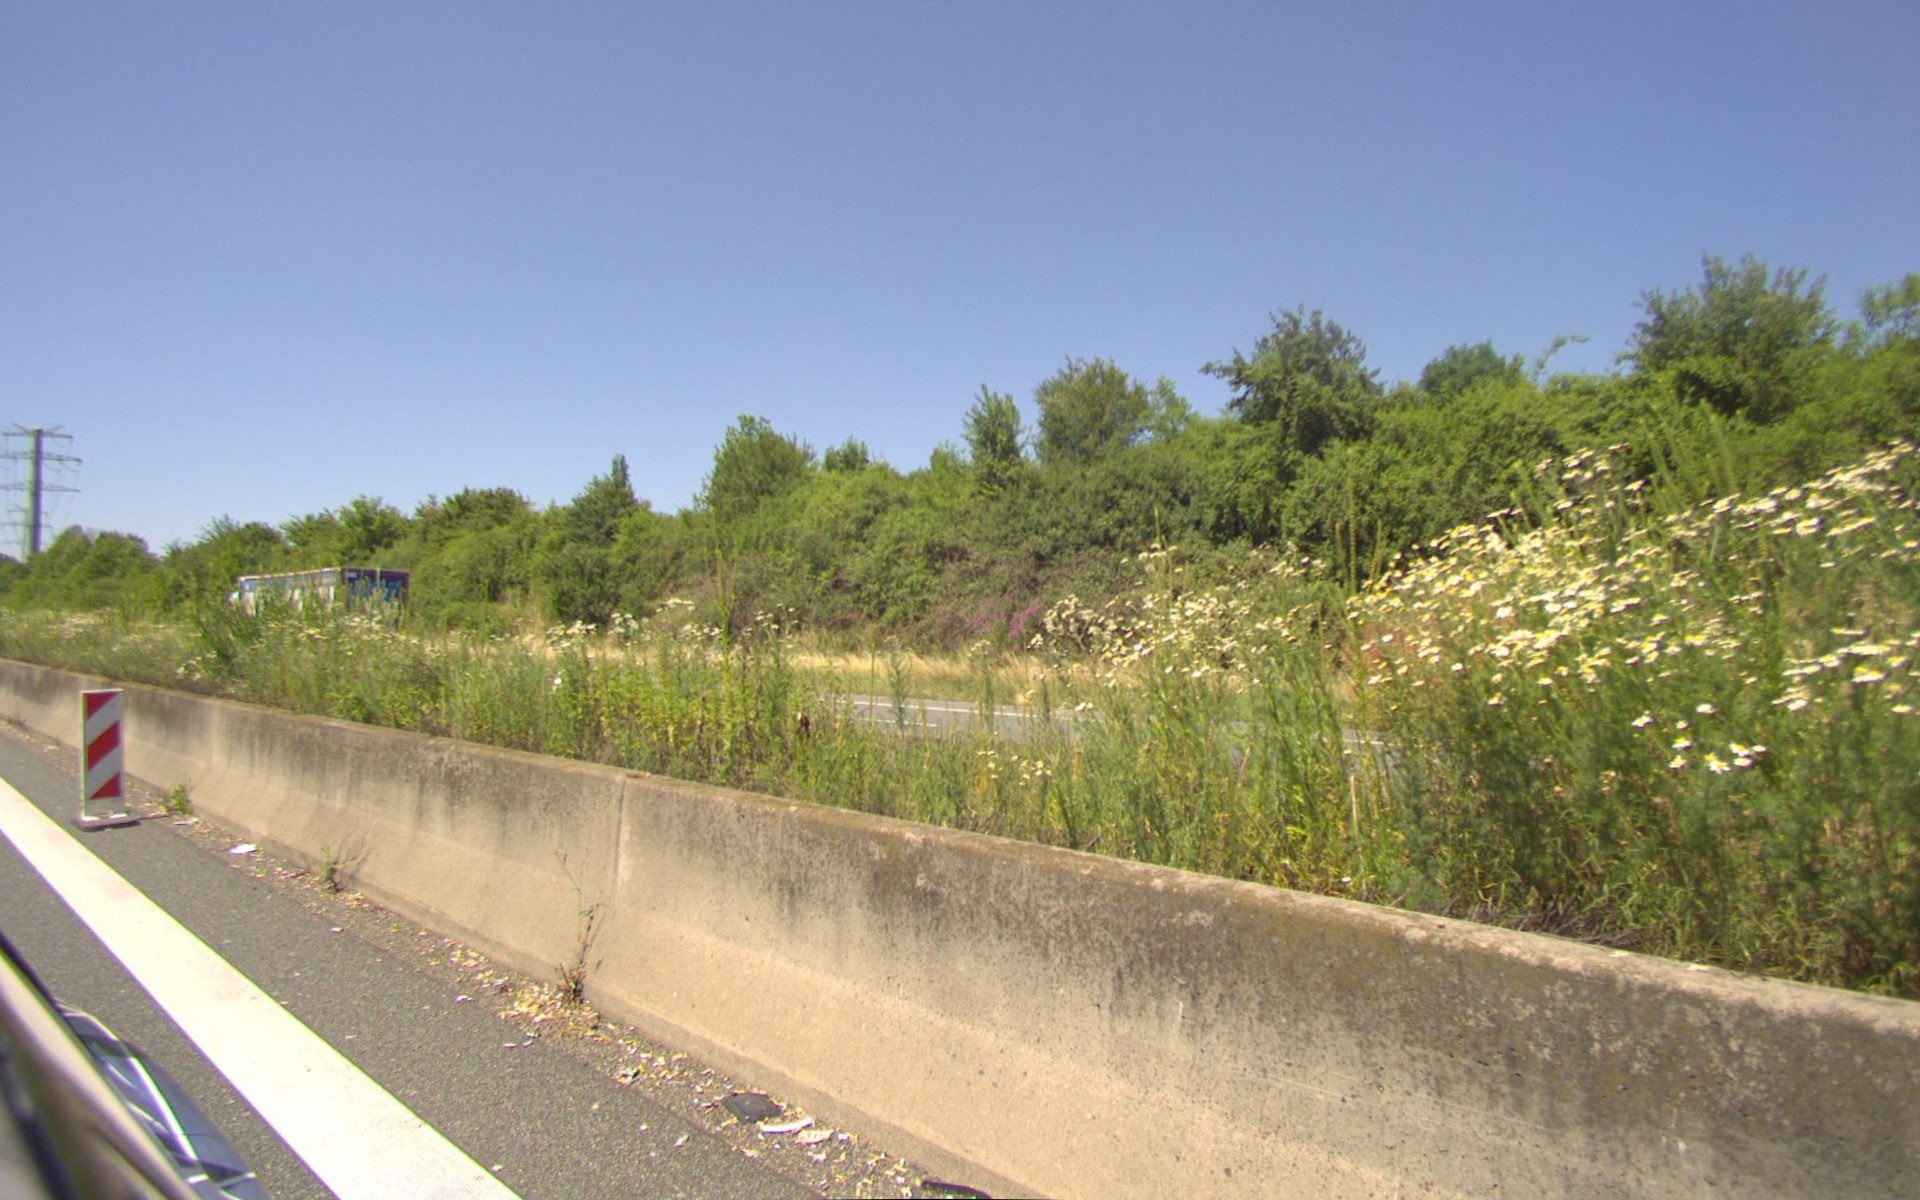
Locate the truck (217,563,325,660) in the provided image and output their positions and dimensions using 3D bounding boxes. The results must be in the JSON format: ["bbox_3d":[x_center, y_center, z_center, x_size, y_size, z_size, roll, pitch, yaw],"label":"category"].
[{"bbox_3d":[-33.828,0.550,49.611,6.072,4.425,2.914,-1,0,41],"label":"truck"}]

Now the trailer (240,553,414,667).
[{"bbox_3d":[-28.099,0.447,44.512,12.900,4.437,2.929,-1,0,41],"label":"trailer"}]
